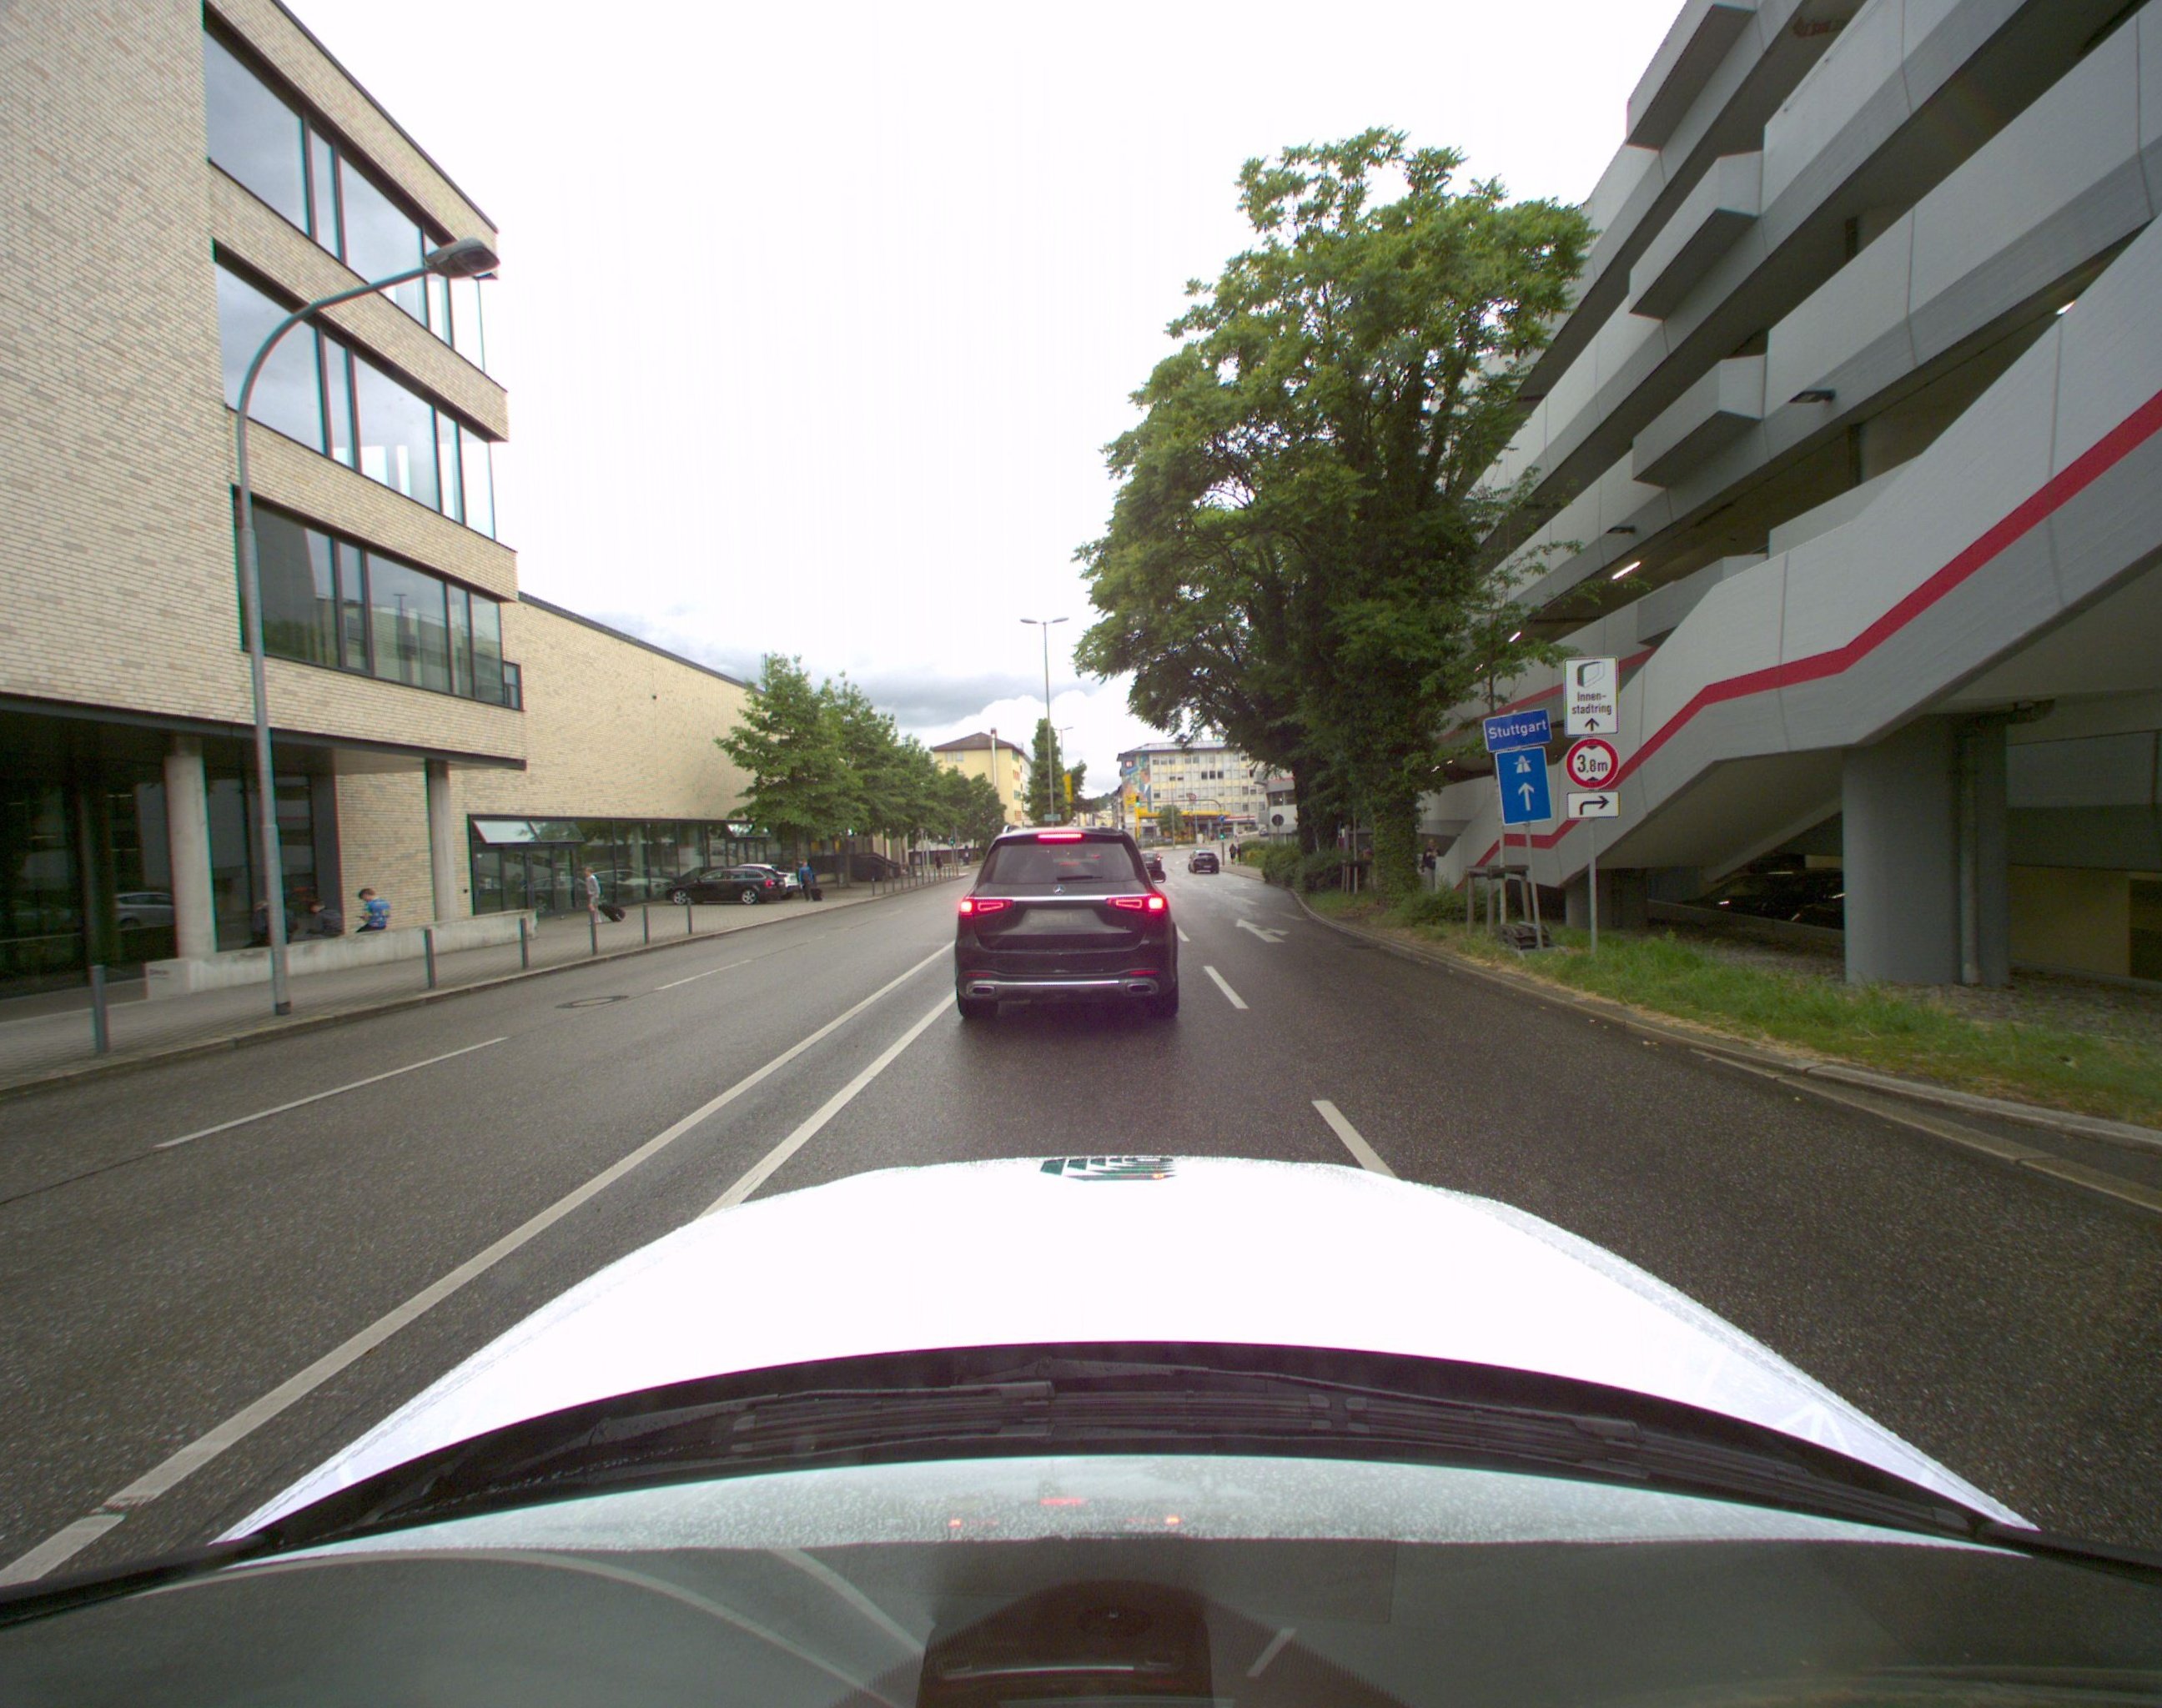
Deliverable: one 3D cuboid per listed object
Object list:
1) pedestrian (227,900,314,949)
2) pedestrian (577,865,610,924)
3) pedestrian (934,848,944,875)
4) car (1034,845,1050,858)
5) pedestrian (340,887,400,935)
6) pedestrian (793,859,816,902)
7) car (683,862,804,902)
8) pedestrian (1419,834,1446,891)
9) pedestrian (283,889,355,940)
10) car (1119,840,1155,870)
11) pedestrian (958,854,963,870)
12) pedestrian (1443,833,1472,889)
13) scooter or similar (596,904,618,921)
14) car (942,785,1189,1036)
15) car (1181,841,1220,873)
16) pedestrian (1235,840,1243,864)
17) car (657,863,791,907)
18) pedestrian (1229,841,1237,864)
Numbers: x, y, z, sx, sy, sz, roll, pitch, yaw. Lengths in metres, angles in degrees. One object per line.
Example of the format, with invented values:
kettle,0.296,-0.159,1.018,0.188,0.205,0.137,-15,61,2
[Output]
pedestrian,-13.486,1.183,13.573,0.595,0.786,0.760,0,-7,1
pedestrian,-14.316,1.177,23.901,0.673,1.697,0.479,0,0,1
pedestrian,-10.937,0.586,62.902,0.586,2.013,0.749,-2,0,0
car,-5.602,-0.363,117.729,1.987,1.875,5.141,0,-1,0
pedestrian,-13.572,1.080,15.561,0.680,0.886,0.523,0,-1,-5
pedestrian,-11.471,1.089,33.783,0.686,1.725,0.754,0,1,0
car,-14.565,1.187,35.355,4.407,1.573,1.998,-1,1,-4
pedestrian,9.595,0.239,22.215,0.548,1.532,0.489,0,-1,8
pedestrian,-13.559,1.069,14.503,0.584,0.845,0.727,-1,-1,1
car,3.902,0.083,57.795,1.990,2.014,3.993,0,-1,-4
pedestrian,-12.563,0.864,84.975,0.398,1.644,0.567,0,-1,2
pedestrian,10.208,0.187,22.110,0.579,1.501,0.505,0,-1,7
scooter or similar,-14.219,1.753,24.441,0.278,0.501,0.617,0,-1,5
car,-0.109,0.476,8.596,1.987,2.014,4.000,0,-1,0
car,7.989,0.199,54.789,1.987,2.013,3.999,-2,0,0
pedestrian,12.697,-0.132,65.371,0.518,1.911,0.556,0,-1,1
car,-14.204,1.203,32.635,4.461,1.587,1.997,-1,0,-5
pedestrian,12.780,-0.148,68.539,0.617,1.935,0.611,0,-1,6
